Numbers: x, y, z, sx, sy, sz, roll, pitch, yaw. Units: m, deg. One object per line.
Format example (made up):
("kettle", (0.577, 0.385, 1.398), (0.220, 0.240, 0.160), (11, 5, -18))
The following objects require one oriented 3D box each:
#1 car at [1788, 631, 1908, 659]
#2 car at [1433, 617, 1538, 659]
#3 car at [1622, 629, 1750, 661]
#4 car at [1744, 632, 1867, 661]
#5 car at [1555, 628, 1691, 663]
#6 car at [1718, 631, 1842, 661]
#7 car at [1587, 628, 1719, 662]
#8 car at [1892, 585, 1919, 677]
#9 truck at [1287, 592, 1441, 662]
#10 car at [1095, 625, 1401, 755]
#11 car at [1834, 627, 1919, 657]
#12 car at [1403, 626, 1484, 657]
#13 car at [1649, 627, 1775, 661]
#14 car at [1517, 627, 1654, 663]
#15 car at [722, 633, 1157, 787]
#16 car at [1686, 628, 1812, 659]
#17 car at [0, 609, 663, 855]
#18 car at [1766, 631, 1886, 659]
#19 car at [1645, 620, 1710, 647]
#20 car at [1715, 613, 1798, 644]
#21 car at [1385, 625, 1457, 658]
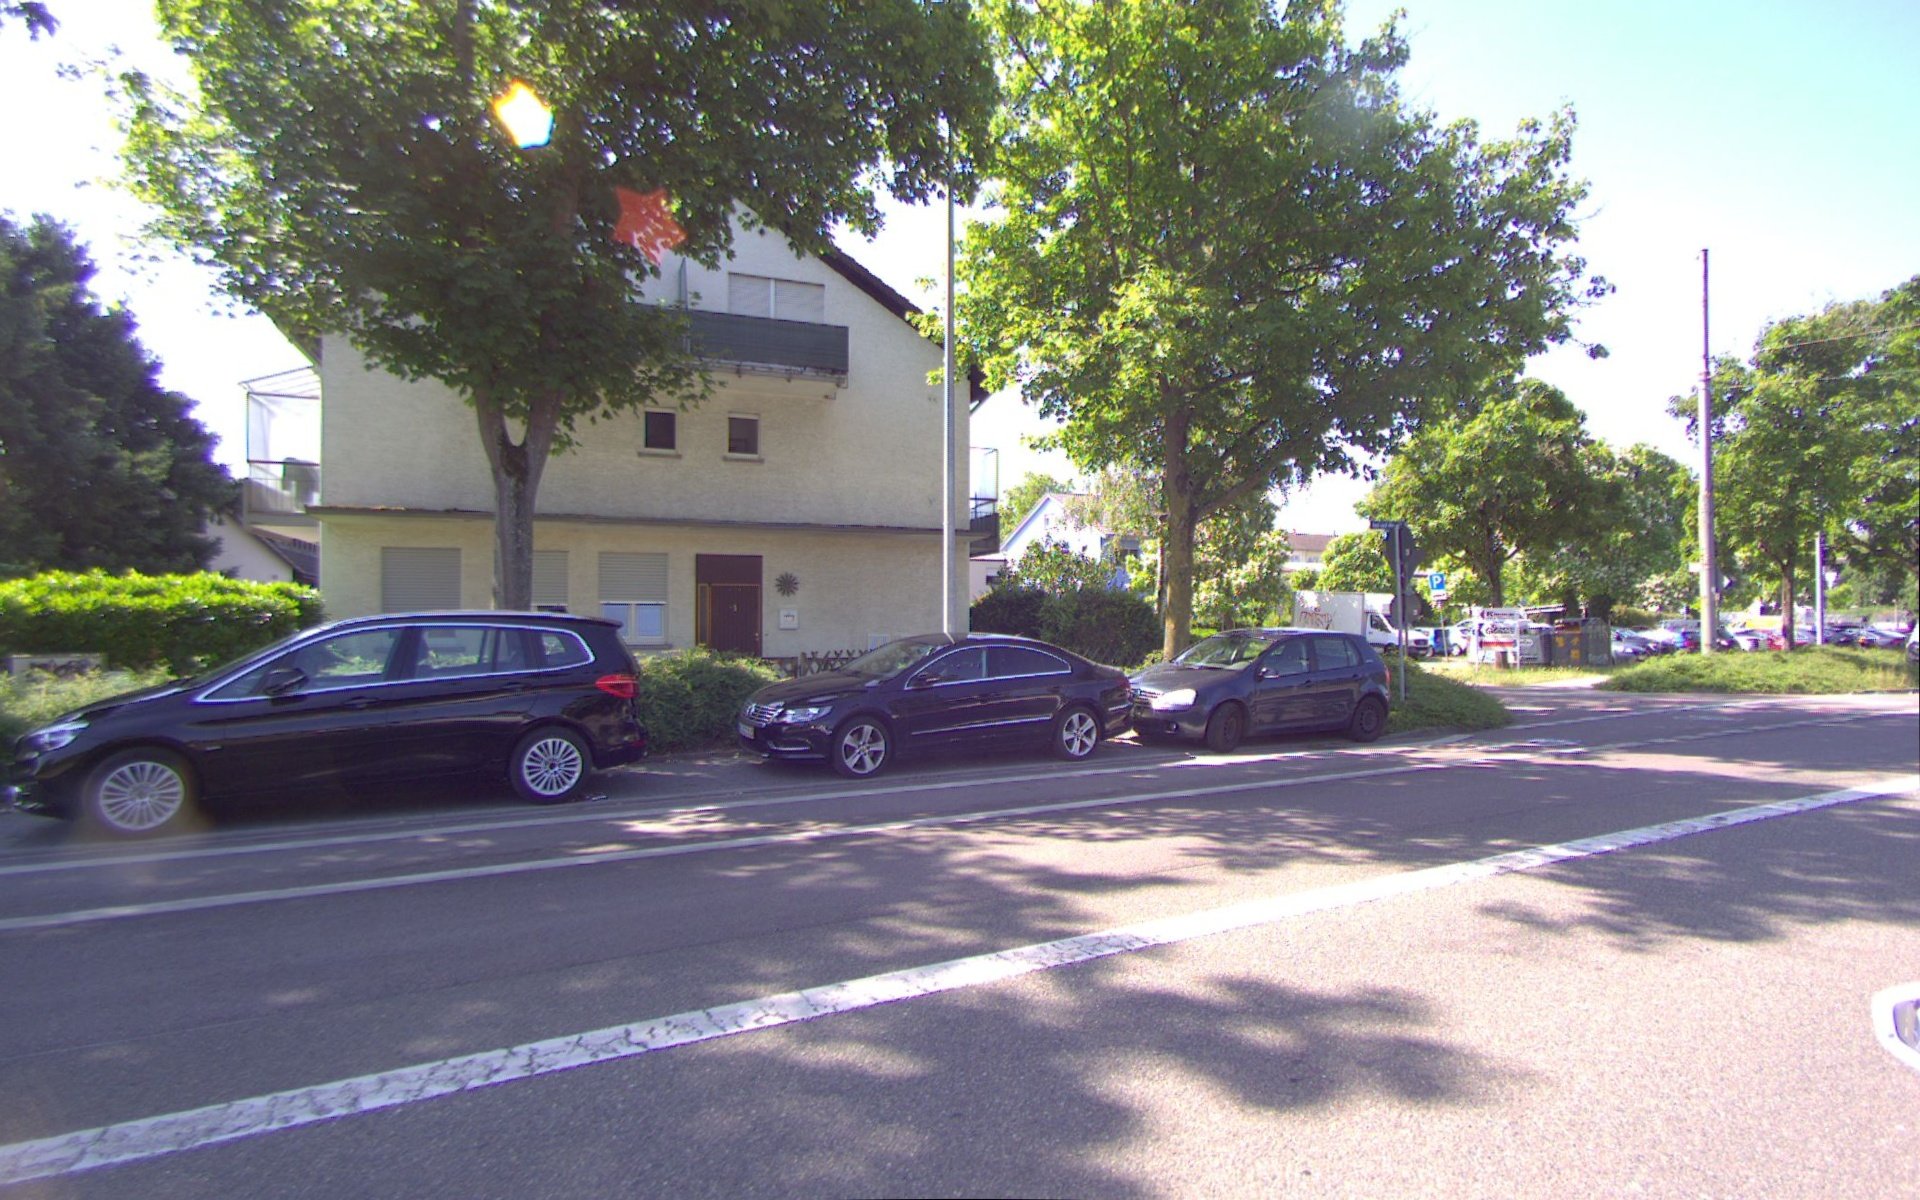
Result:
("car", (42.732, 2.141, 48.429), (1.748, 1.241, 3.974), (1, -2, -26))
("car", (28.547, 2.028, 54.726), (1.979, 2.040, 4.664), (1, 1, -34))
("car", (29.959, 1.829, 41.565), (1.748, 1.241, 3.974), (1, -2, -26))
("car", (38.847, 2.094, 46.242), (1.748, 1.241, 3.974), (1, -2, -26))
("car", (25.089, 1.698, 38.130), (1.751, 1.241, 3.968), (1, -2, -30))
("car", (36.722, 2.022, 45.076), (1.748, 1.241, 3.974), (1, -2, -26))
("car", (27.314, 1.738, 39.712), (1.748, 1.241, 3.974), (1, -2, -26))
("car", (29.386, 0.900, 28.658), (6.226, 2.535, 2.051), (1, 1, -27))
("truck", (19.775, 1.240, 49.643), (2.206, 3.059, 7.104), (1, 1, -31))
("car", (3.906, 1.111, 13.504), (3.955, 1.470, 1.634), (1, 1, -29))
("car", (47.165, 2.087, 50.903), (1.748, 1.463, 3.974), (1, -2, -26))
("car", (25.960, 2.180, 54.025), (1.536, 1.374, 3.761), (0, 2, -25))
("car", (32.023, 1.824, 42.903), (1.748, 1.368, 3.974), (1, -2, -26))
("car", (22.918, 1.628, 36.943), (1.751, 1.241, 3.968), (1, -2, -30))
("car", (-0.131, 1.094, 11.377), (4.726, 1.398, 1.682), (1, -1, -30))
("car", (34.375, 1.868, 43.872), (1.748, 1.281, 3.974), (1, -2, -26))
("car", (-5.144, 0.910, 8.420), (4.836, 1.627, 1.753), (1, 0, -30))
("car", (40.863, 2.116, 47.485), (1.748, 1.241, 3.974), (1, -2, -26))
("car", (50.742, 2.360, 71.062), (1.534, 1.901, 3.406), (1, -1, -31))
("car", (56.360, 1.998, 71.136), (1.980, 2.040, 4.229), (1, 1, -35))
("car", (24.030, 2.137, 52.410), (1.536, 1.452, 3.123), (0, 2, -25))
